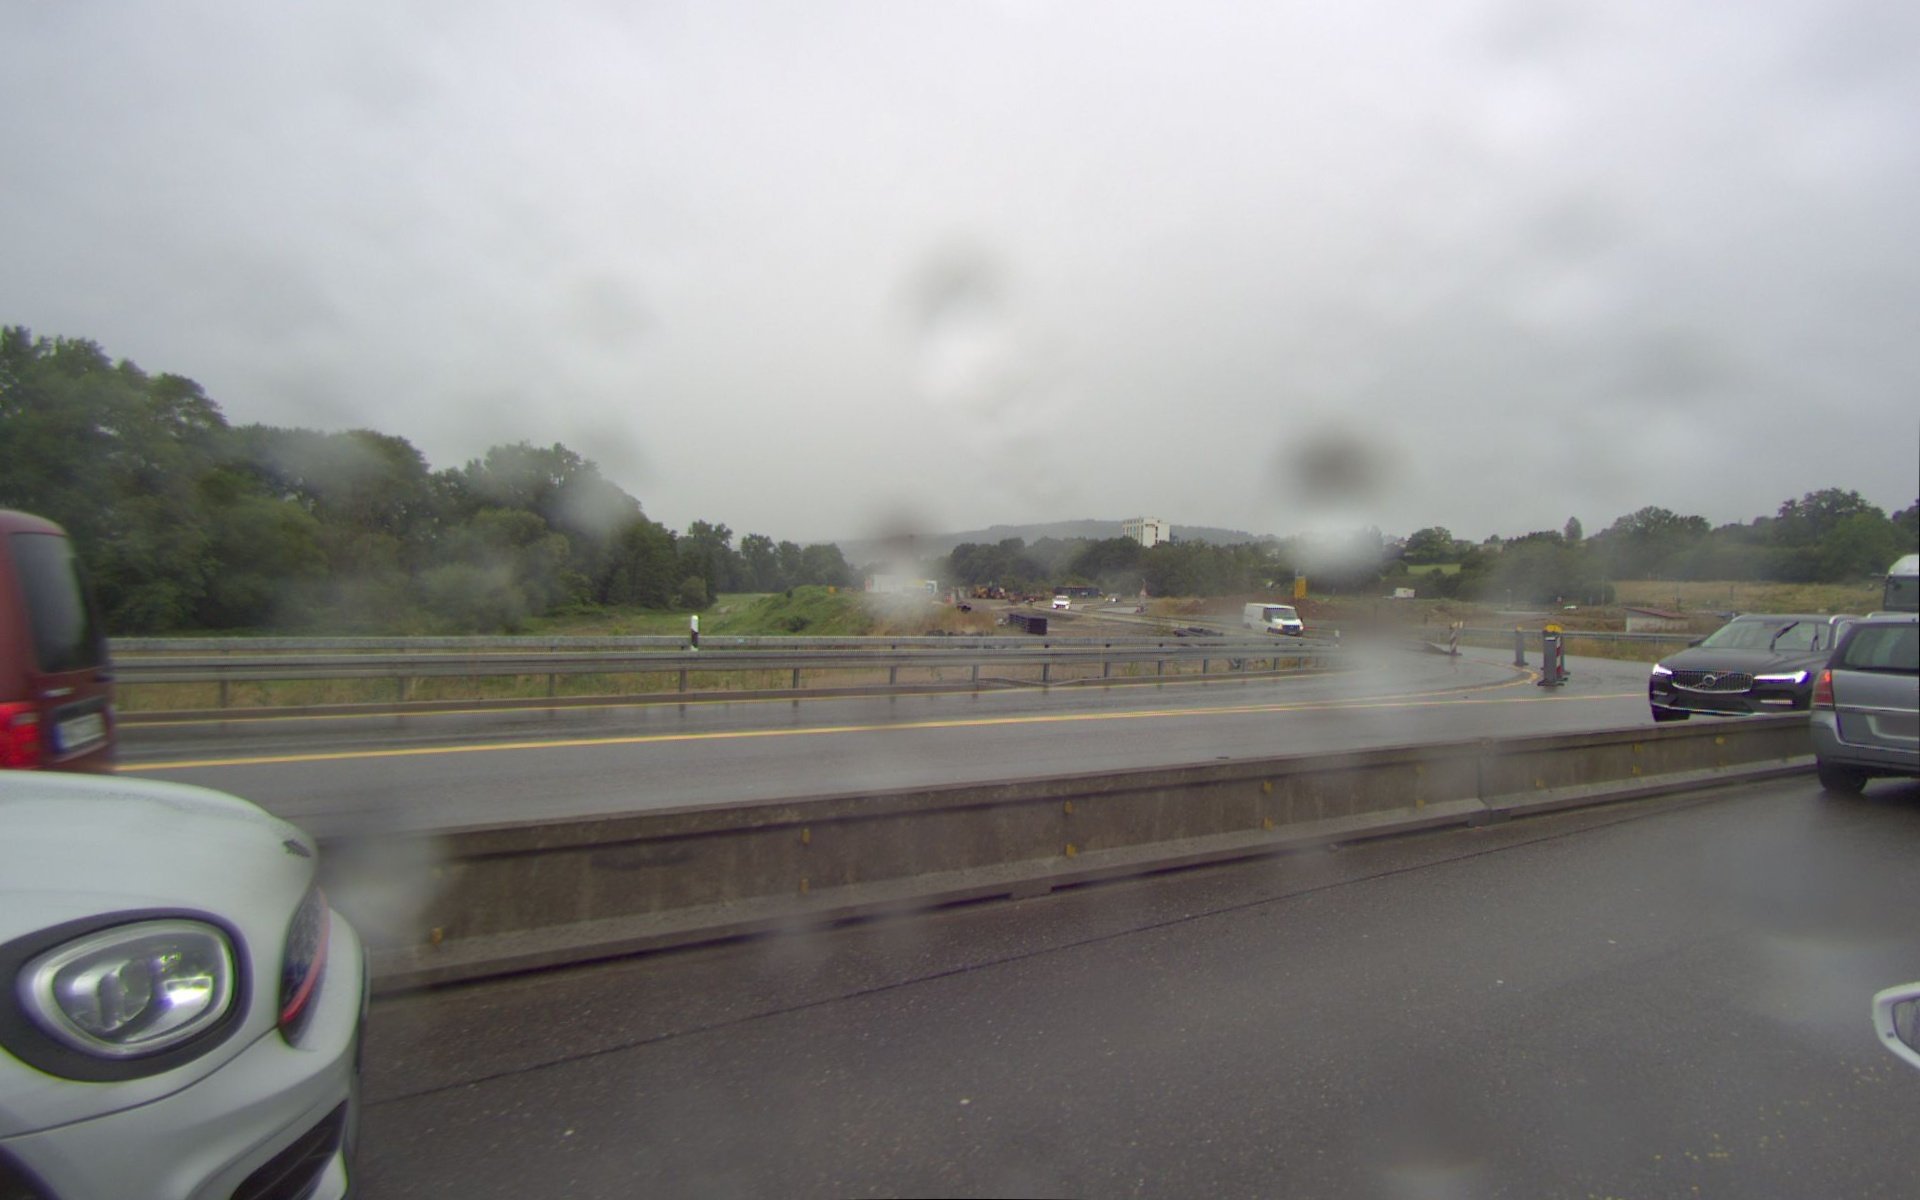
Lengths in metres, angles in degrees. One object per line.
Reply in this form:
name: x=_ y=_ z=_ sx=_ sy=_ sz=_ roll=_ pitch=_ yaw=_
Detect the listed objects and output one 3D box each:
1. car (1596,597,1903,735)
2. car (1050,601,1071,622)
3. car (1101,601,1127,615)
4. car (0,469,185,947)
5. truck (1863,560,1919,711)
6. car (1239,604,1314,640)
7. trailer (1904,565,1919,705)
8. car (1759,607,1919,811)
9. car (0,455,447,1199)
car: x=11.165 y=0.860 z=14.150 sx=4.419 sy=1.677 sz=1.984 roll=1 pitch=-1 yaw=-31
car: x=10.577 y=1.173 z=105.796 sx=2.029 sy=2.090 sz=4.845 roll=1 pitch=0 yaw=5
car: x=20.250 y=1.079 z=132.065 sx=1.817 sy=1.723 sz=5.038 roll=1 pitch=0 yaw=28
car: x=-5.762 y=0.420 z=3.403 sx=4.791 sy=1.771 sz=1.835 roll=0 pitch=-1 yaw=-33
truck: x=27.663 y=0.991 z=27.742 sx=5.214 sy=3.979 sz=2.672 roll=1 pitch=-1 yaw=-31
car: x=19.361 y=1.305 z=61.711 sx=2.232 sy=2.040 sz=5.034 roll=1 pitch=0 yaw=-12
trailer: x=32.180 y=1.096 z=30.479 sx=9.707 sy=4.016 sz=2.672 roll=1 pitch=-1 yaw=-31
car: x=9.434 y=0.931 z=9.191 sx=4.092 sy=1.622 sz=1.984 roll=1 pitch=0 yaw=-30
car: x=-3.121 y=0.587 z=1.341 sx=4.257 sy=1.622 sz=1.807 roll=1 pitch=0 yaw=-31
